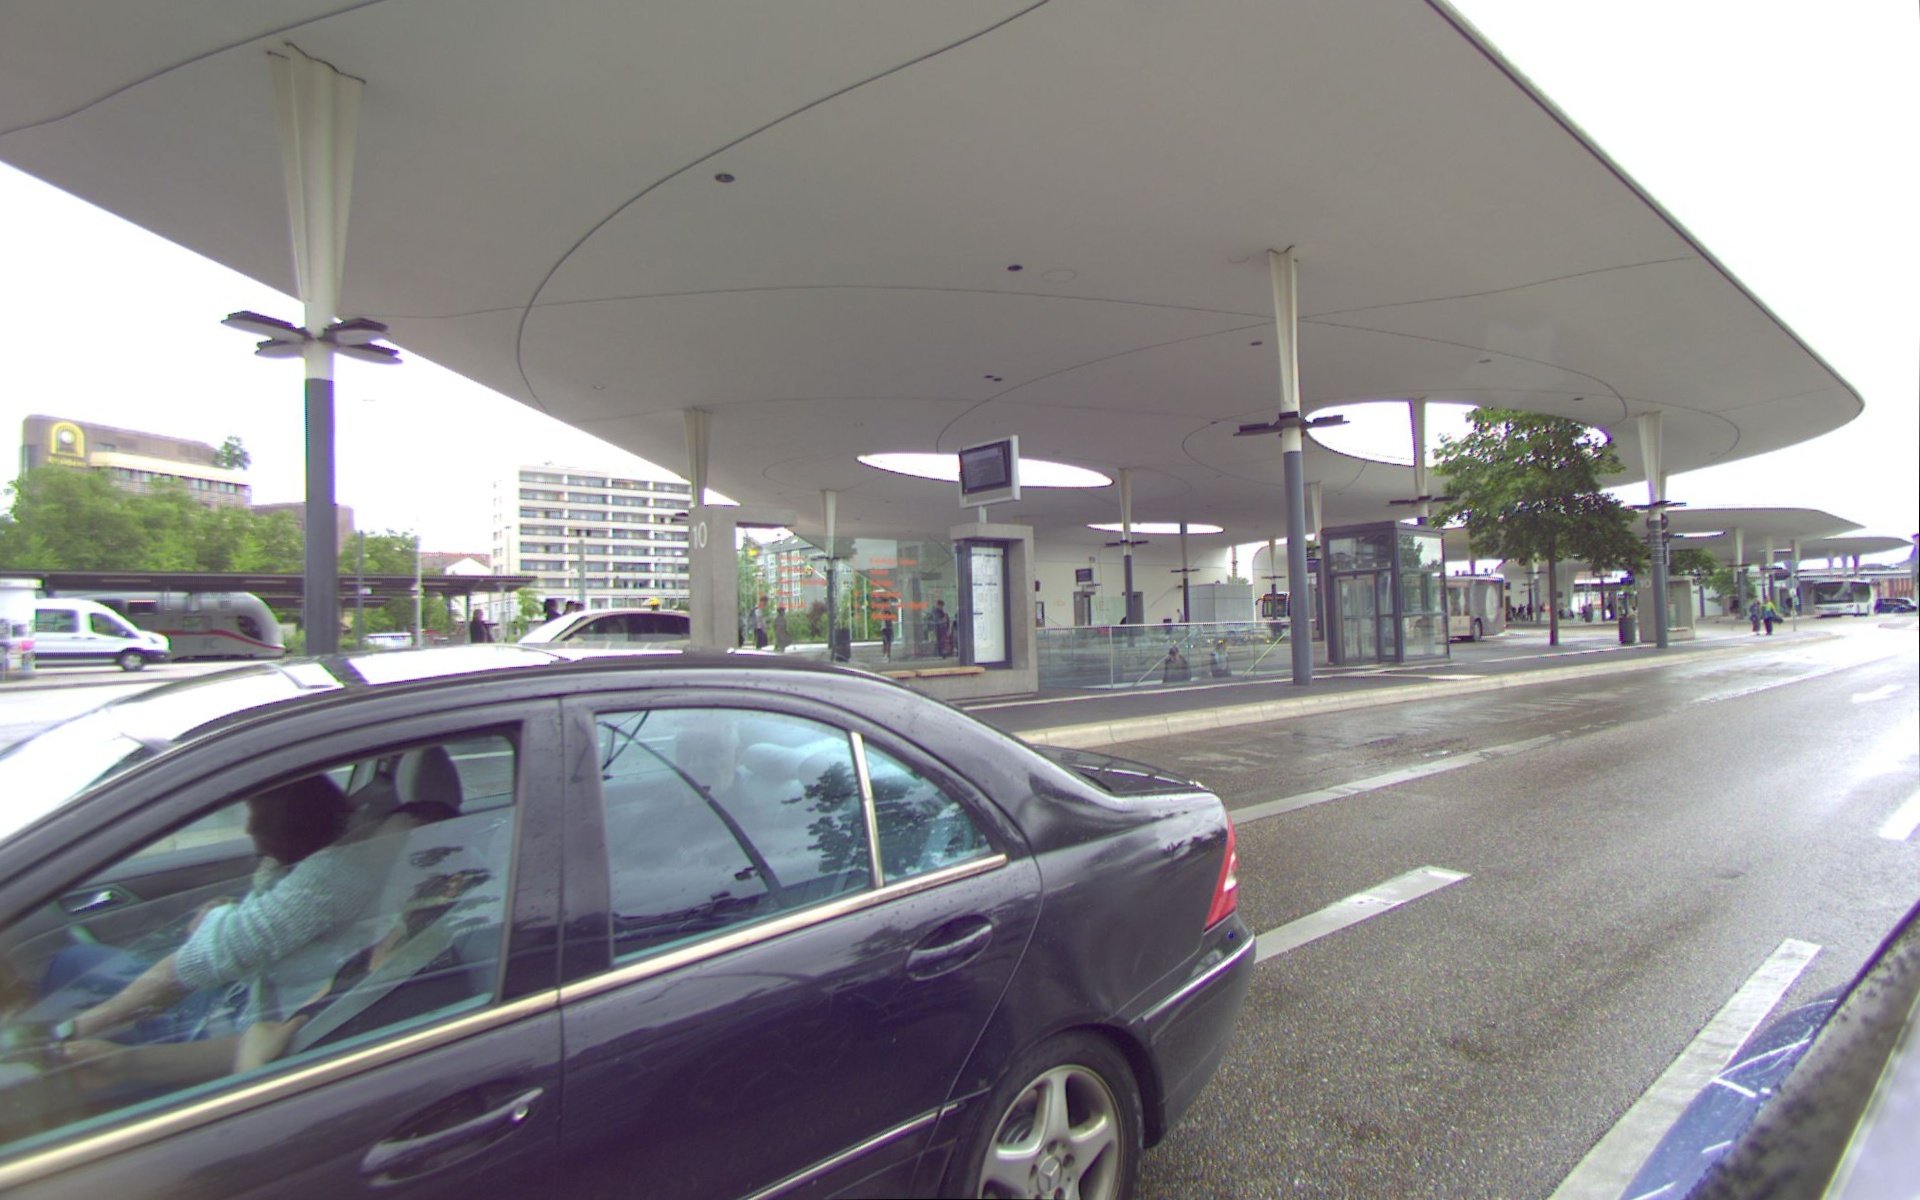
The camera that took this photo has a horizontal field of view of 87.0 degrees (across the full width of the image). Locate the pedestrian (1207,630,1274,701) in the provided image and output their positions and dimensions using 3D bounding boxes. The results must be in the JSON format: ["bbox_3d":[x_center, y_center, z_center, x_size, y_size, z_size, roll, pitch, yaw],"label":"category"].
[{"bbox_3d":[5.465,1.258,19.737,0.940,1.291,0.882,0,0,-37],"label":"pedestrian"}]

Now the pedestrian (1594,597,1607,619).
[{"bbox_3d":[60.404,0.776,95.502,1.018,2.039,0.870,0,0,34],"label":"pedestrian"}]

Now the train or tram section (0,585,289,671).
[{"bbox_3d":[-50.801,1.406,50.343,28.798,4.234,4.598,-1,0,-41],"label":"train or tram section"}]

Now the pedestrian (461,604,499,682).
[{"bbox_3d":[-10.357,0.912,21.836,0.725,1.615,0.643,0,0,-26],"label":"pedestrian"}]

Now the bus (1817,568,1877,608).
[{"bbox_3d":[75.562,-0.947,86.393,3.568,3.138,10.597,-1,-1,40],"label":"bus"}]

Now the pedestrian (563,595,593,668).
[{"bbox_3d":[-8.170,0.668,21.635,0.470,1.533,0.535,0,-1,-36],"label":"pedestrian"}]

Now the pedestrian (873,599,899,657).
[{"bbox_3d":[-1.970,0.742,26.946,0.525,1.533,0.479,0,-1,-37],"label":"pedestrian"}]

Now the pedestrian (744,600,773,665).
[{"bbox_3d":[-4.861,0.781,24.364,0.525,1.533,0.479,0,-1,-37],"label":"pedestrian"}]

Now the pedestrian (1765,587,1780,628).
[{"bbox_3d":[35.346,0.318,44.009,0.444,1.786,0.529,-2,-1,43],"label":"pedestrian"}]

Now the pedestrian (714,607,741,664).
[{"bbox_3d":[-6.275,0.950,27.303,0.556,1.533,0.479,0,-1,-37],"label":"pedestrian"}]

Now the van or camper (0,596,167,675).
[{"bbox_3d":[-29.728,1.112,33.229,5.762,2.464,1.997,-1,0,-41],"label":"van or camper"}]

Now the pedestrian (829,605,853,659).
[{"bbox_3d":[-3.413,0.900,28.988,0.515,1.533,0.479,0,-1,-37],"label":"pedestrian"}]

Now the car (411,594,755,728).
[{"bbox_3d":[-5.563,0.774,15.244,4.462,1.702,1.997,-1,0,-41],"label":"car"}]

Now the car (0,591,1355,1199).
[{"bbox_3d":[-1.098,0.735,2.015,4.374,1.484,1.697,-1,0,-41],"label":"car"}]

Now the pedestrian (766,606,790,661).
[{"bbox_3d":[-5.096,0.927,28.319,0.515,1.533,0.479,0,-1,-37],"label":"pedestrian"}]

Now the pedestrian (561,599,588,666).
[{"bbox_3d":[-8.938,0.752,23.473,0.469,1.533,0.535,0,-1,-6],"label":"pedestrian"}]

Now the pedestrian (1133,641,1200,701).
[{"bbox_3d":[4.055,1.371,19.863,0.940,1.068,0.882,0,0,-37],"label":"pedestrian"}]

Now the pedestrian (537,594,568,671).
[{"bbox_3d":[-8.311,0.654,20.652,0.470,1.533,0.535,0,-1,-36],"label":"pedestrian"}]

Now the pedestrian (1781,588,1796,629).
[{"bbox_3d":[35.738,0.362,43.660,0.444,1.786,0.529,-2,-1,43],"label":"pedestrian"}]

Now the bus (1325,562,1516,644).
[{"bbox_3d":[20.121,0.040,43.660,11.714,3.121,2.874,-1,0,-41],"label":"bus"}]
